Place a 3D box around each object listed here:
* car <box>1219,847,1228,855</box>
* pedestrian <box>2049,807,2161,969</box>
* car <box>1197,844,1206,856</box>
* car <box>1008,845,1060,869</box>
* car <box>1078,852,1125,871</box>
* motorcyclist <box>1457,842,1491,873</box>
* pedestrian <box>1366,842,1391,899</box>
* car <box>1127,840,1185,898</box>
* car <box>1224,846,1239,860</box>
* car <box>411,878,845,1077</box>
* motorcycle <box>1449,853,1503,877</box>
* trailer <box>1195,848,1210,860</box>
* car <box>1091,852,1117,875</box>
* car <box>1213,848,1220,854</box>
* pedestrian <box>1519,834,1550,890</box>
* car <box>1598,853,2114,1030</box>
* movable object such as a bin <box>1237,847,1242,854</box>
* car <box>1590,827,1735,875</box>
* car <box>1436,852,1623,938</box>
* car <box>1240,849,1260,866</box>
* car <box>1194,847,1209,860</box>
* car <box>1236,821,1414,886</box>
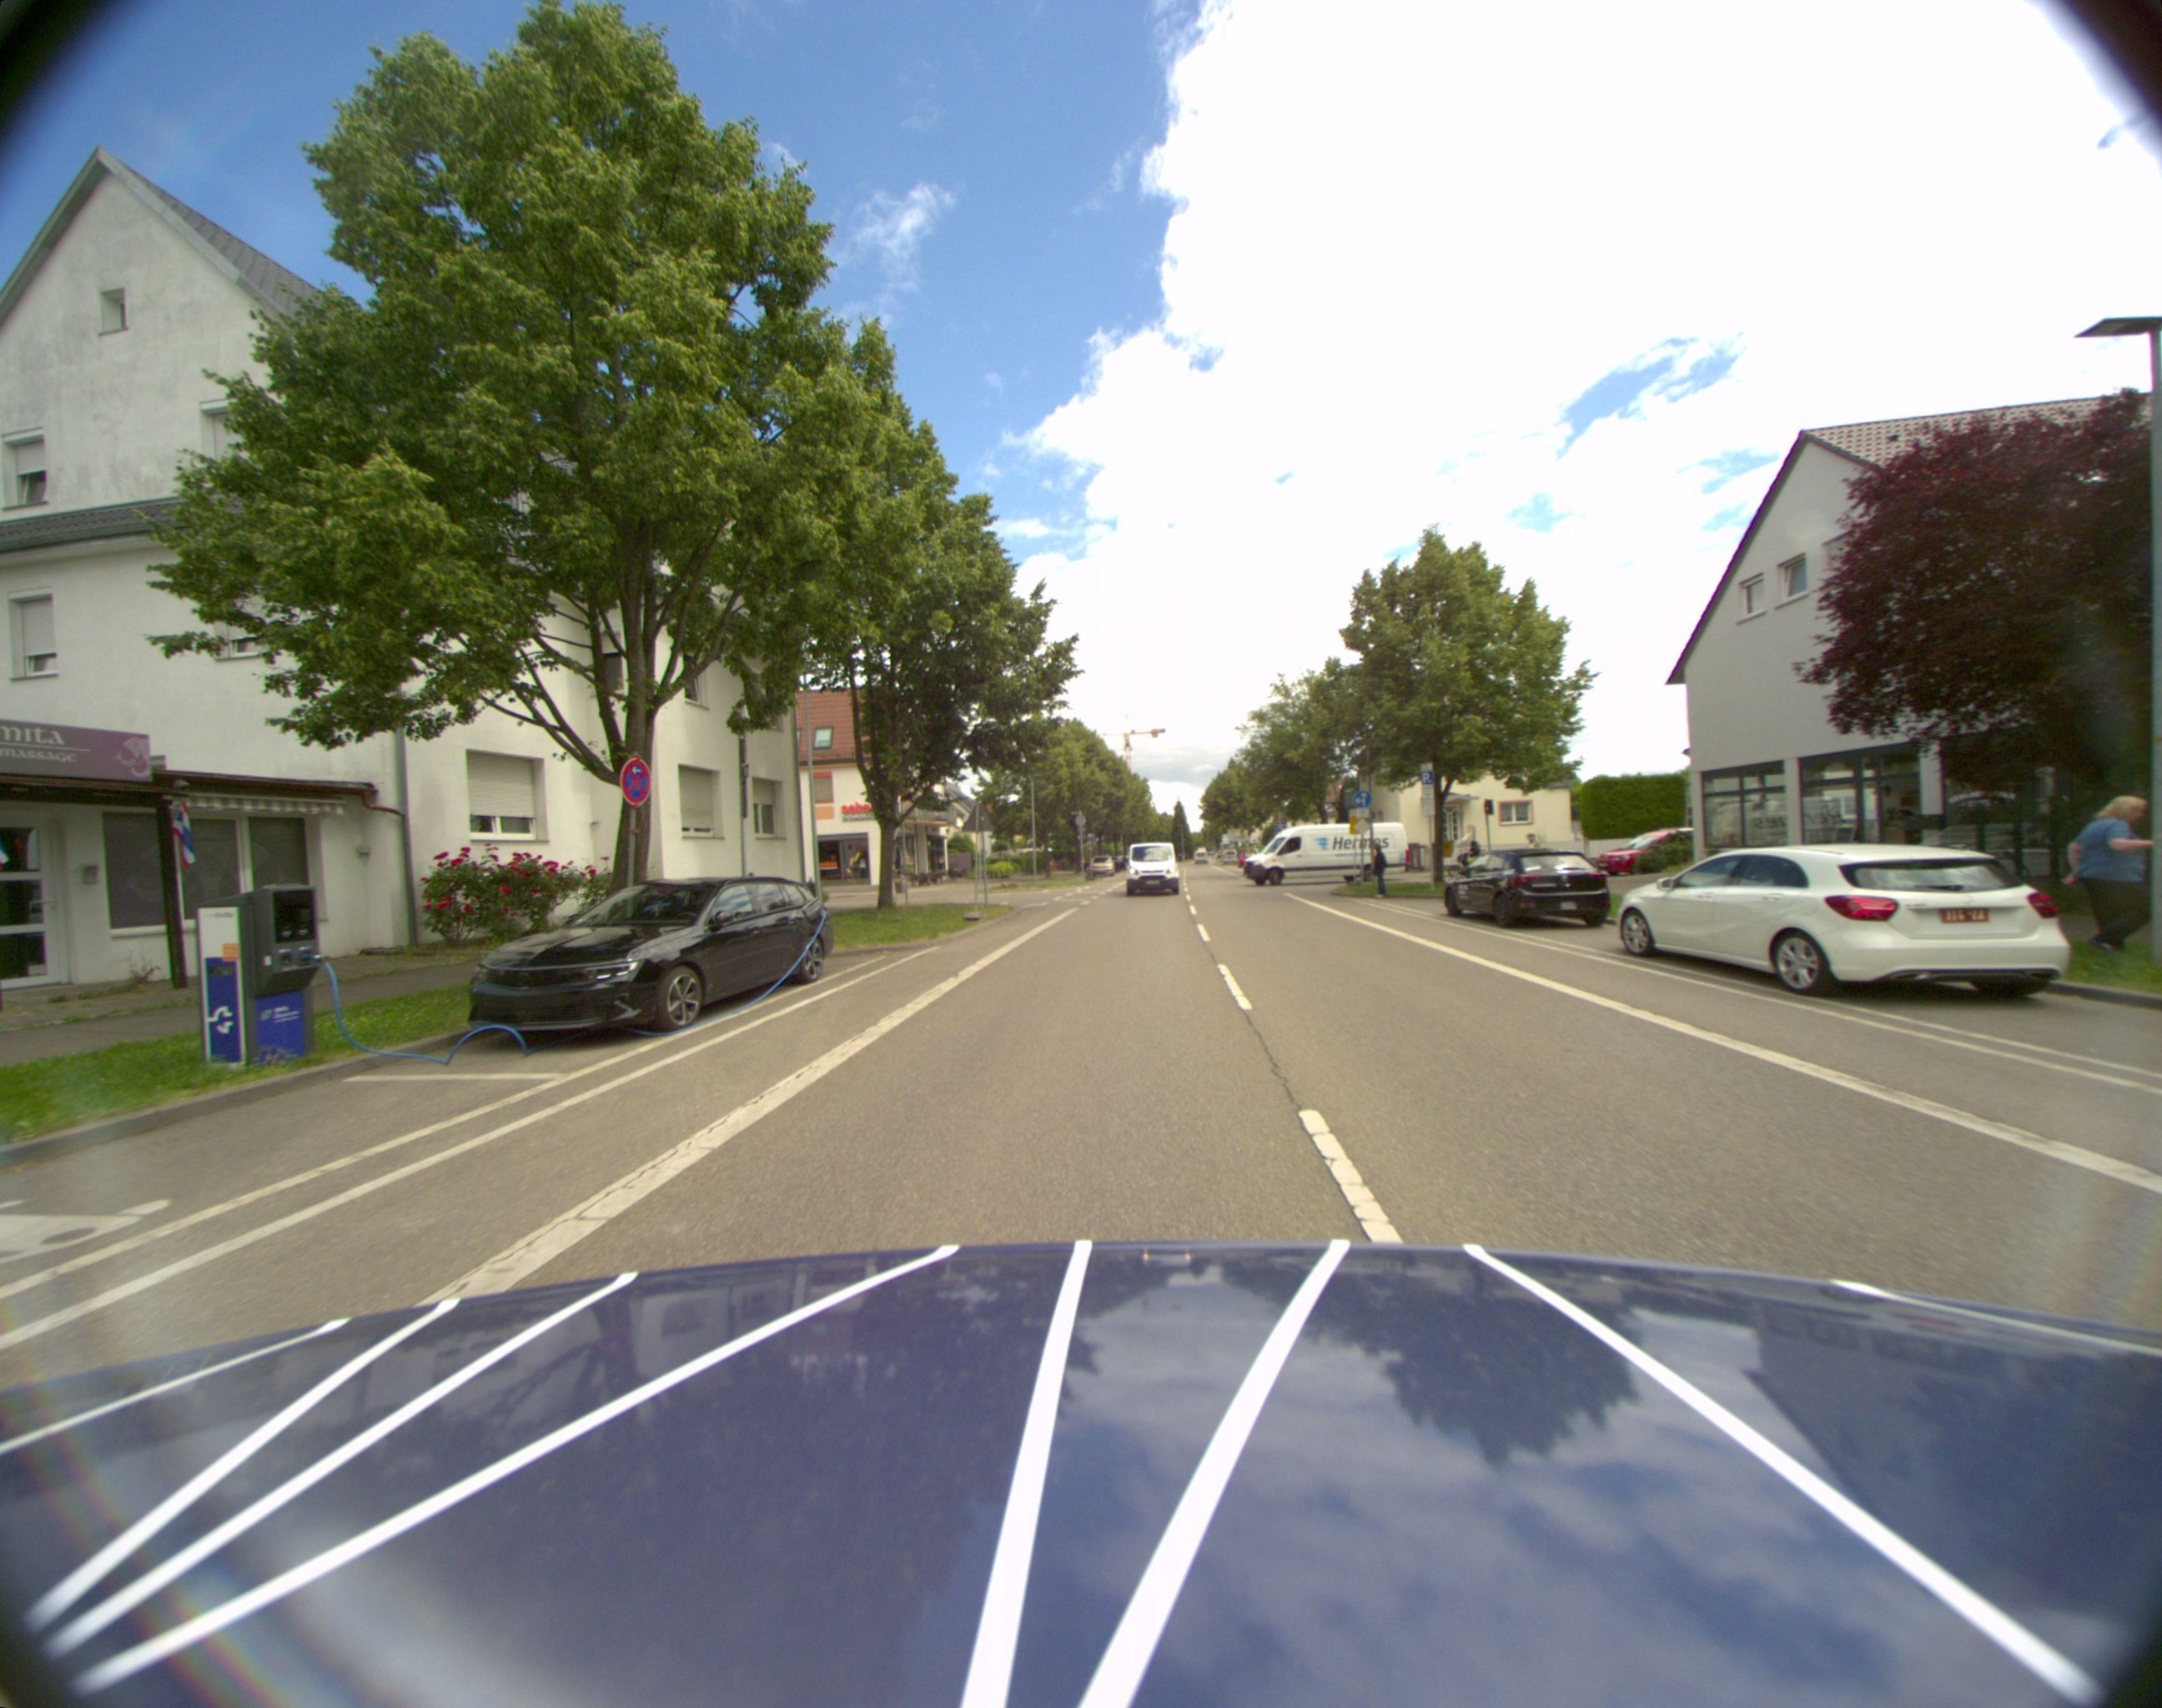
[{"bbox_3d":[33.194,-0.654,177.237,1.750,1.626,4.050,-3,0,8],"label":"car"},{"bbox_3d":[10.278,0.317,7.560,0.584,1.520,0.697,-3,1,-29],"label":"pedestrian"},{"bbox_3d":[28.316,-0.839,178.447,2.022,2.658,5.809,-2,0,9],"label":"car"},{"bbox_3d":[-5.396,0.354,87.765,5.726,2.576,1.998,-2,0,3],"label":"car"},{"bbox_3d":[1.874,0.667,69.352,4.227,1.628,1.693,-1,0,2],"label":"car"},{"bbox_3d":[17.738,0.143,34.303,1.108,1.357,0.754,-2,1,6],"label":"motorcyclist"},{"bbox_3d":[9.059,0.502,23.161,0.543,1.671,0.751,-4,-1,16],"label":"pedestrian"},{"bbox_3d":[2.956,0.548,30.205,1.998,2.002,5.052,-3,0,5],"label":"car"},{"bbox_3d":[19.901,-0.163,100.694,1.773,1.760,4.554,-2,0,9],"label":"car"},{"bbox_3d":[-4.478,1.105,8.568,1.709,1.446,4.618,-2,0,6],"label":"car"},{"bbox_3d":[17.846,0.492,34.330,2.117,1.025,0.481,-2,1,6],"label":"motorcycle"},{"bbox_3d":[17.474,0.012,109.217,1.942,1.667,4.691,-2,0,7],"label":"trailer"},{"bbox_3d":[1.772,0.707,57.506,1.725,1.571,4.062,-2,0,5],"label":"car"},{"bbox_3d":[38.314,-0.779,214.606,1.664,1.466,3.749,-3,0,7],"label":"car"},{"bbox_3d":[12.845,0.231,21.537,0.431,1.542,0.806,-3,1,7],"label":"pedestrian"},{"bbox_3d":[7.757,0.729,8.351,1.717,1.398,4.303,-2,0,9],"label":"car"},{"bbox_3d":[36.186,-0.761,173.592,0.983,1.408,2.724,-3,0,8],"label":"movable object such as a bin"},{"bbox_3d":[23.511,-0.132,30.856,4.357,1.768,1.872,-2,2,4],"label":"car"},{"bbox_3d":[8.508,0.696,14.833,1.646,1.412,4.022,-2,0,7],"label":"car"},{"bbox_3d":[16.581,0.301,74.716,1.688,1.532,4.135,-2,0,9],"label":"car"},{"bbox_3d":[18.082,-0.095,113.921,1.970,1.820,4.821,-2,0,7],"label":"car"},{"bbox_3d":[10.961,-0.022,34.391,7.310,2.579,2.219,-2,0,-5],"label":"car"}]
